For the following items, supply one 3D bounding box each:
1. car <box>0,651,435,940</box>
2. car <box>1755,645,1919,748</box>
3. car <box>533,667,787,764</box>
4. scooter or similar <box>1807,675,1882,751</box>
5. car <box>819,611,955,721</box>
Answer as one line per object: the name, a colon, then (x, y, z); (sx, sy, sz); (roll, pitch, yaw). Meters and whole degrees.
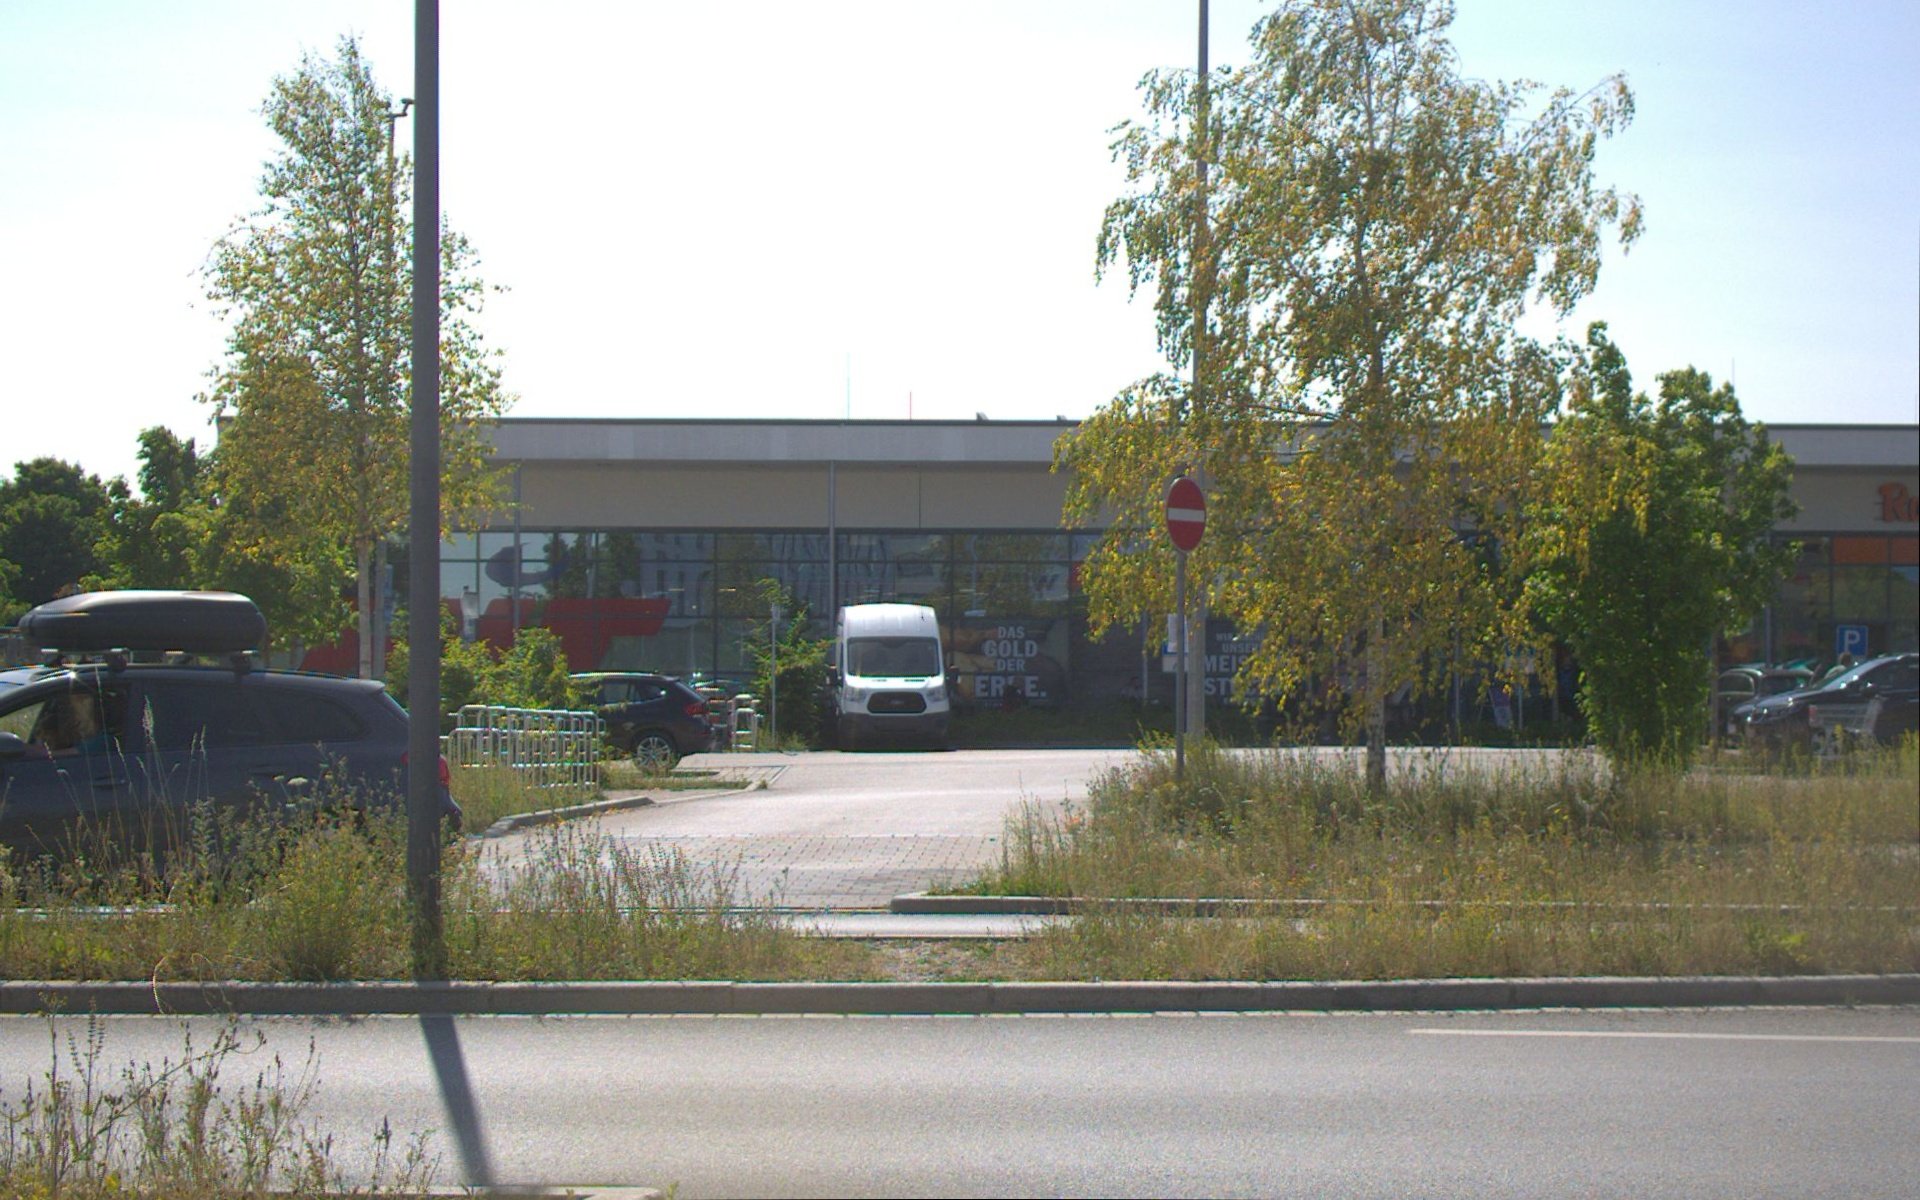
car: (-5.264, 1.043, 19.046); (4.183, 1.512, 2.000); (2, -2, -35)
car: (13.908, 1.425, 51.076); (3.793, 1.503, 1.732); (0, -1, 0)
car: (-4.614, 1.777, 53.149); (3.832, 1.418, 1.772); (1, -1, -4)
scooter or similar: (12.706, 1.624, 49.411); (0.943, 1.076, 0.652); (0, -1, 4)
car: (-1.441, 1.228, 64.861); (2.222, 1.970, 6.697); (0, -1, -4)
